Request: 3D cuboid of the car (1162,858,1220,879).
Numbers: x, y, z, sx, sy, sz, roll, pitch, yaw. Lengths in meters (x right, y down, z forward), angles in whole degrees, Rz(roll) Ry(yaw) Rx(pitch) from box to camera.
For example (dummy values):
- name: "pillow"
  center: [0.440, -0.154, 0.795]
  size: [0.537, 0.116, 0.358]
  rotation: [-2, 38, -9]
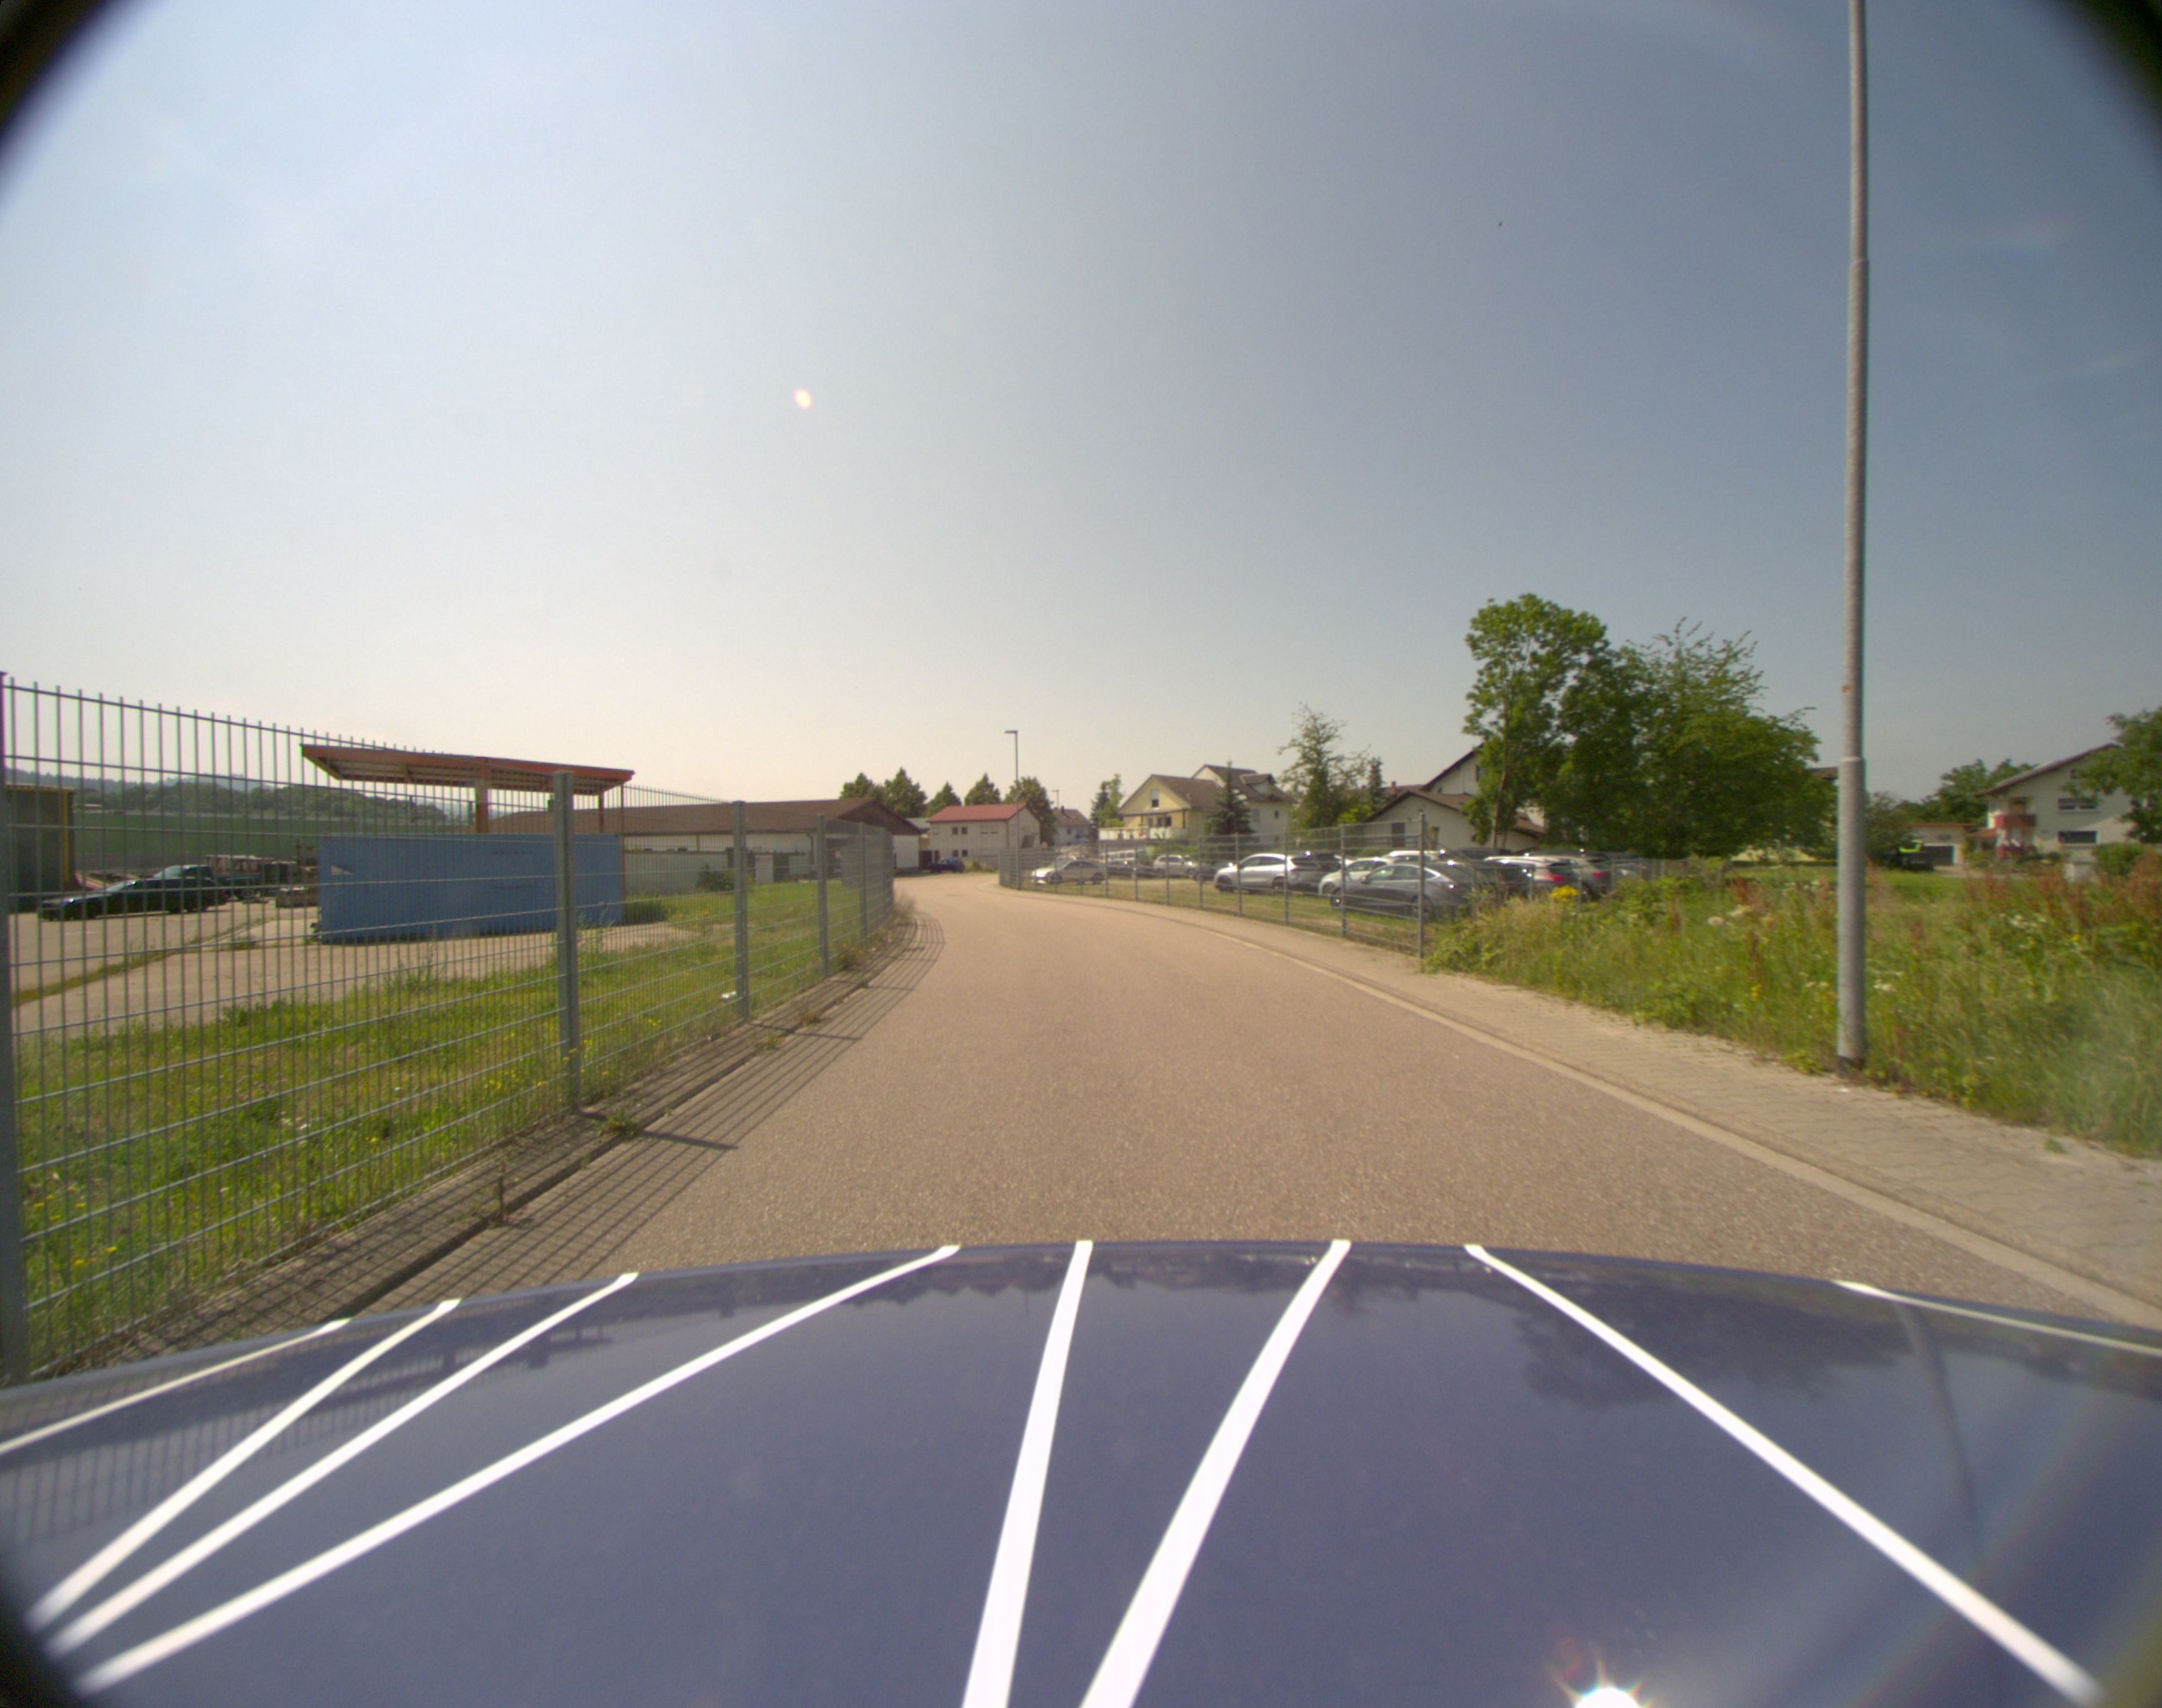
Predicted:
- name: "car"
  center: [8.088, 1.069, 56.179]
  size: [1.865, 1.489, 3.989]
  rotation: [-1, 0, -42]

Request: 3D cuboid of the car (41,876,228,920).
- name: "car"
  center: [-35.033, 1.580, 28.287]
  size: [1.671, 1.379, 4.006]
  rotation: [-1, 1, 21]

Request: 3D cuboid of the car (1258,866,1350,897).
- name: "car"
  center: [9.790, 1.156, 33.520]
  size: [1.585, 1.239, 3.636]
  rotation: [-1, 0, -39]

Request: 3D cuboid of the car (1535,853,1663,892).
- name: "car"
  center: [21.258, 0.729, 31.296]
  size: [2.004, 1.489, 3.989]
  rotation: [-1, 0, -40]

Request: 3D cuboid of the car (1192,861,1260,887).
- name: "car"
  center: [8.156, 1.098, 42.953]
  size: [1.824, 1.309, 3.399]
  rotation: [-2, 1, -39]

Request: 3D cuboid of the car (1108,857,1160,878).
- name: "car"
  center: [3.892, 1.004, 56.489]
  size: [1.824, 1.455, 3.673]
  rotation: [-2, 1, -39]

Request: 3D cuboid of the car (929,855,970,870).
- name: "car"
  center: [-13.138, 0.809, 75.778]
  size: [3.639, 1.387, 1.584]
  rotation: [2, 1, 16]

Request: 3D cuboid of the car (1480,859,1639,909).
- name: "car"
  center: [15.663, 0.915, 25.025]
  size: [2.004, 1.489, 3.989]
  rotation: [-1, 0, -40]

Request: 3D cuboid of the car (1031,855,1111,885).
- name: "car"
  center: [-0.590, 0.919, 43.725]
  size: [4.393, 1.561, 1.824]
  rotation: [-1, 1, -8]

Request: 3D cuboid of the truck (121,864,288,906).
- name: "truck"
  center: [-41.906, 1.431, 36.508]
  size: [2.056, 1.787, 4.809]
  rotation: [-1, 0, 23]

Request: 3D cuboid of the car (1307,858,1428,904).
- name: "car"
  center: [9.530, 0.853, 25.418]
  size: [1.585, 1.411, 3.452]
  rotation: [-1, 0, -39]

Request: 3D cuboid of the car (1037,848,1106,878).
- name: "car"
  center: [-0.633, 0.598, 54.362]
  size: [4.714, 2.021, 2.001]
  rotation: [-1, 1, 5]

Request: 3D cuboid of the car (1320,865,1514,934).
- name: "car"
  center: [7.638, 0.966, 17.787]
  size: [1.583, 1.326, 4.397]
  rotation: [-1, 0, -19]

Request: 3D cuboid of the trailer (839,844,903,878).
- name: "trailer"
  center: [-16.232, 0.508, 58.679]
  size: [4.354, 2.527, 2.003]
  rotation: [2, 2, 19]

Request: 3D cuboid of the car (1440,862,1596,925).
- name: "car"
  center: [12.208, 1.034, 21.366]
  size: [1.585, 1.574, 3.452]
  rotation: [-1, 0, -39]

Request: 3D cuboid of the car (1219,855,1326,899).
- name: "car"
  center: [7.055, 0.807, 28.239]
  size: [1.585, 1.481, 3.636]
  rotation: [-1, 0, -39]

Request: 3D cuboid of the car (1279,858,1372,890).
- name: "car"
  center: [12.174, 0.977, 37.989]
  size: [2.004, 1.489, 3.989]
  rotation: [-1, 0, -40]
